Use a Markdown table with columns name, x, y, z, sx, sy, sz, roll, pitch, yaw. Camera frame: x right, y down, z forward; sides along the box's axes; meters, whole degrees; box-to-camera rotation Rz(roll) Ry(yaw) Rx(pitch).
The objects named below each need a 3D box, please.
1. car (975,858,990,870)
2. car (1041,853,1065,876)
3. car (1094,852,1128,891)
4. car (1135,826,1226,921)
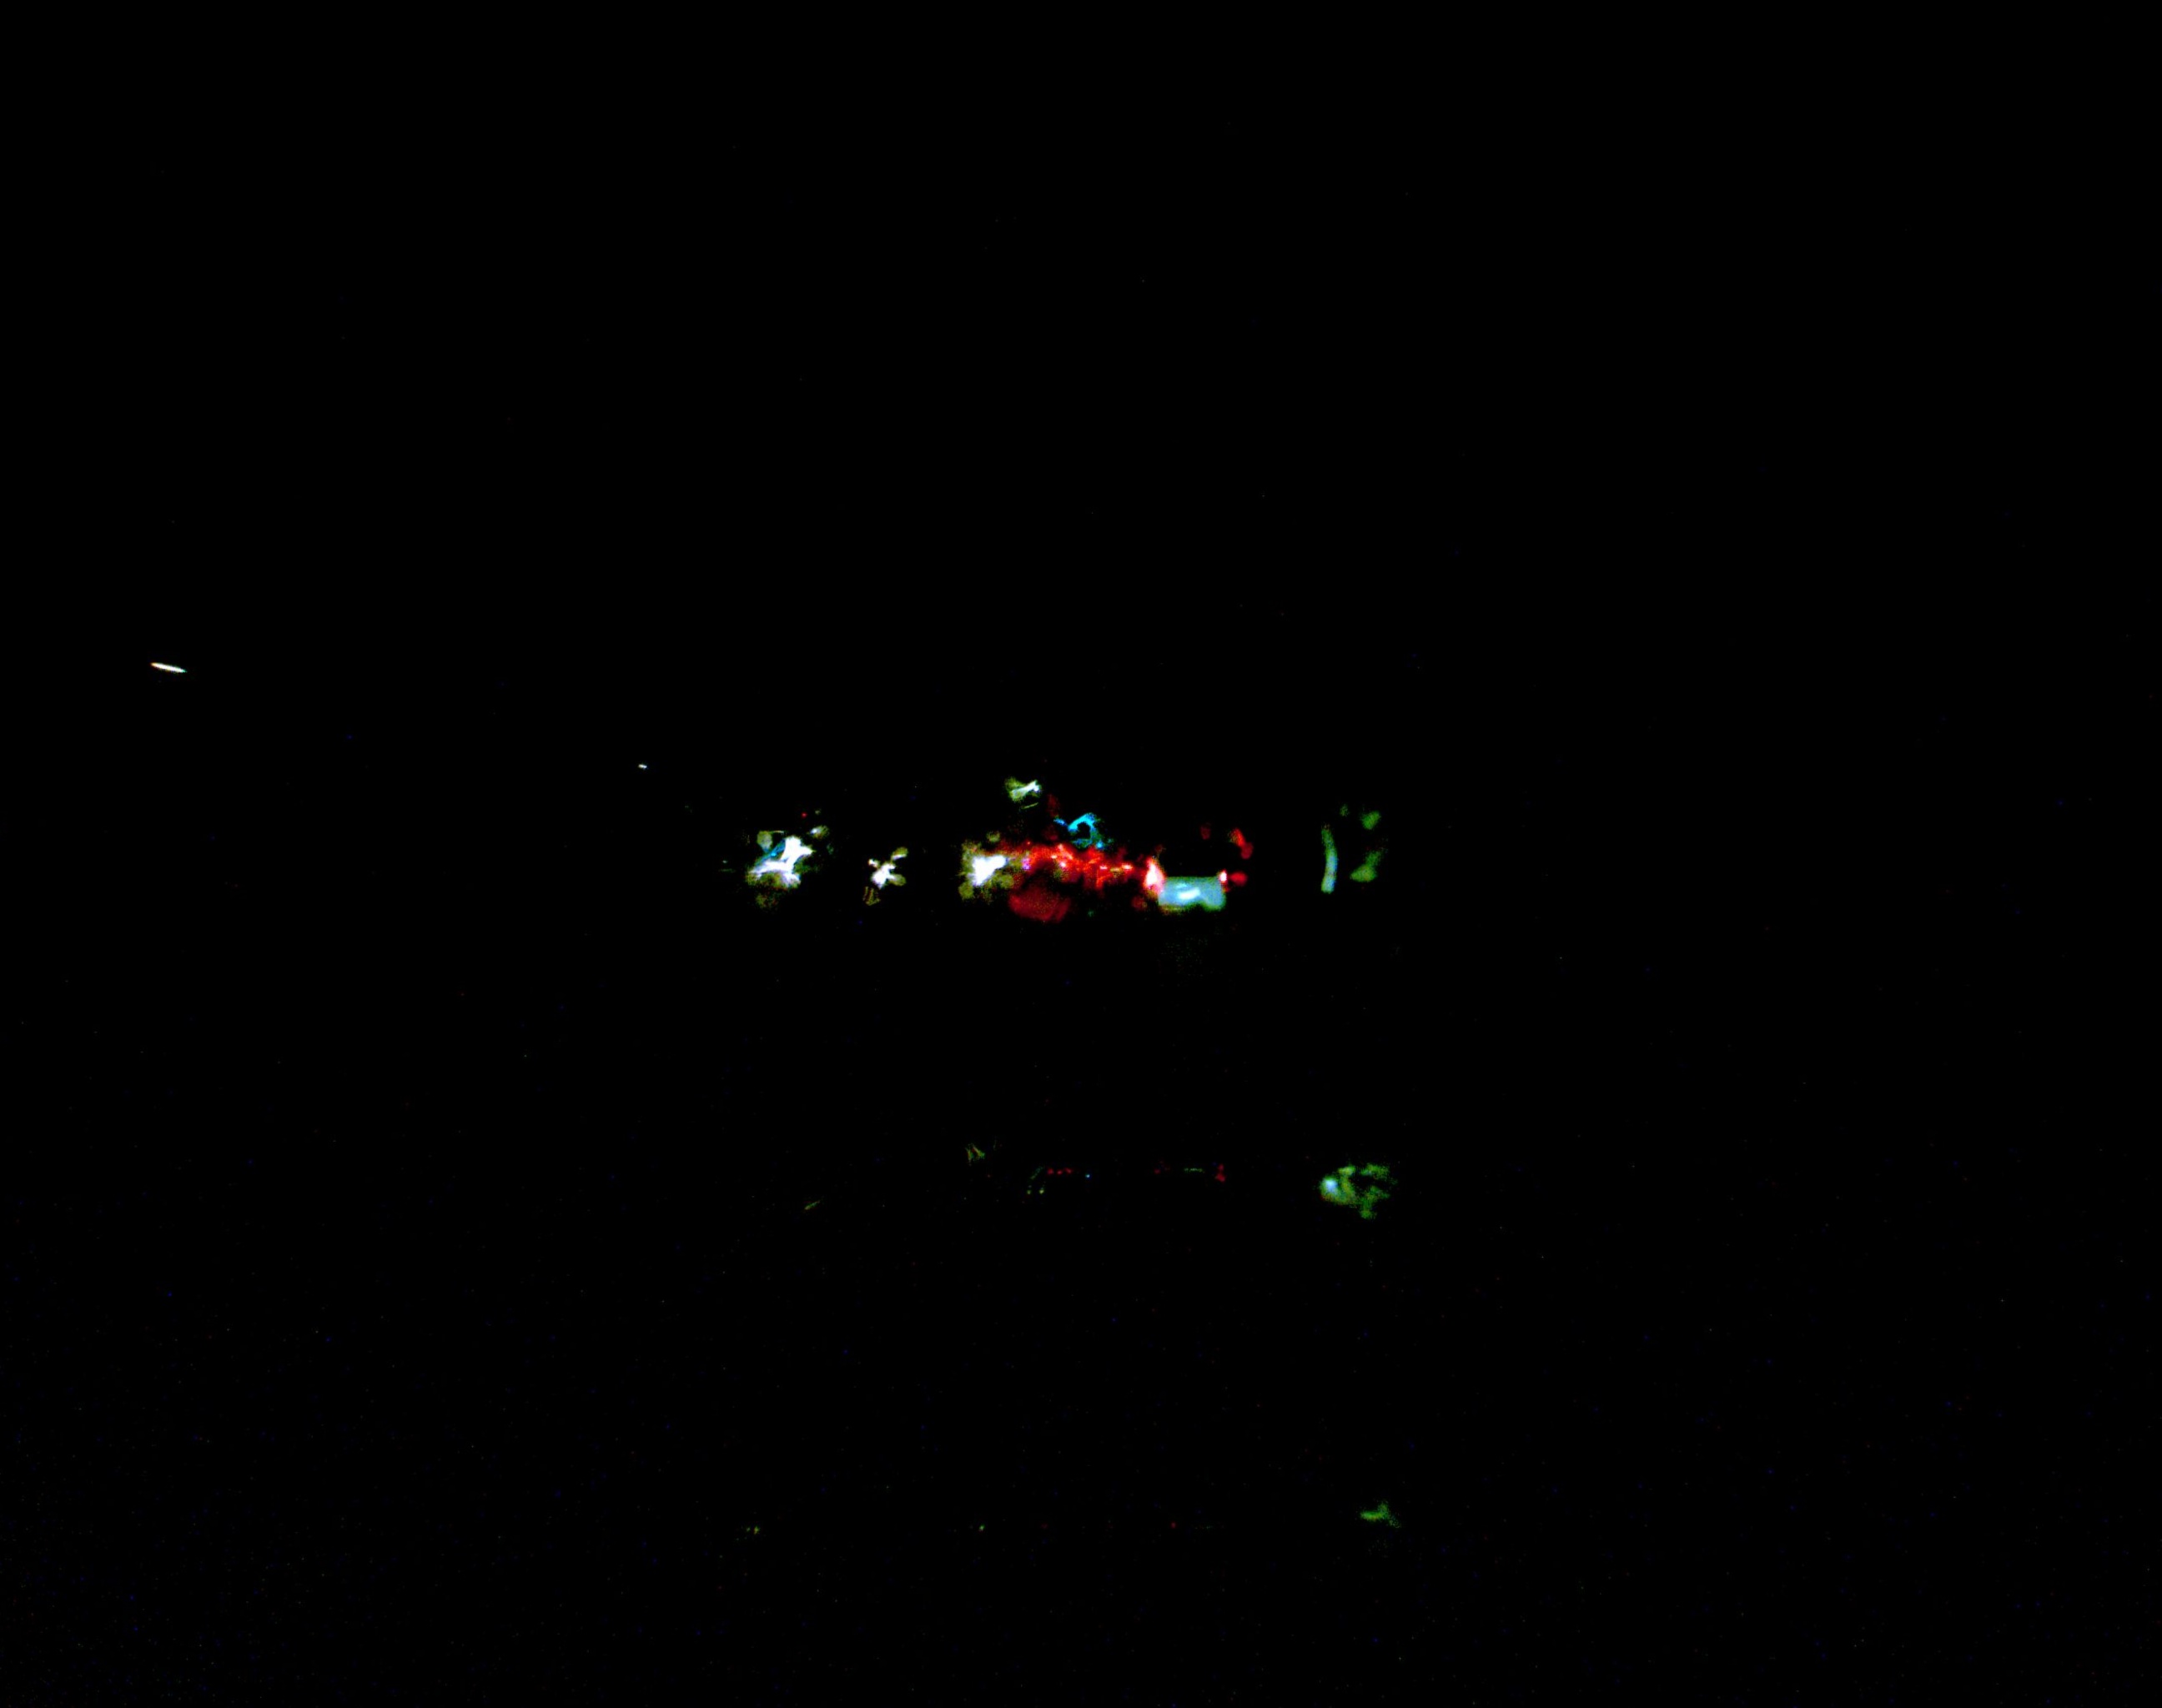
| name | x | y | z | sx | sy | sz | roll | pitch | yaw |
| --- | --- | --- | --- | --- | --- | --- | --- | --- | --- |
| car | -13.016 | 1.295 | 107.348 | 1.799 | 1.588 | 4.024 | 0 | -1 | -5 |
| car | -2.365 | 0.843 | 68.325 | 1.780 | 1.782 | 4.429 | -2 | 0 | -4 |
| car | 1.705 | 0.941 | 46.051 | 1.784 | 2.022 | 4.581 | -2 | 0 | 2 |
| car | 2.325 | 0.431 | 20.094 | 1.784 | 2.022 | 4.581 | -2 | 0 | 2 |
